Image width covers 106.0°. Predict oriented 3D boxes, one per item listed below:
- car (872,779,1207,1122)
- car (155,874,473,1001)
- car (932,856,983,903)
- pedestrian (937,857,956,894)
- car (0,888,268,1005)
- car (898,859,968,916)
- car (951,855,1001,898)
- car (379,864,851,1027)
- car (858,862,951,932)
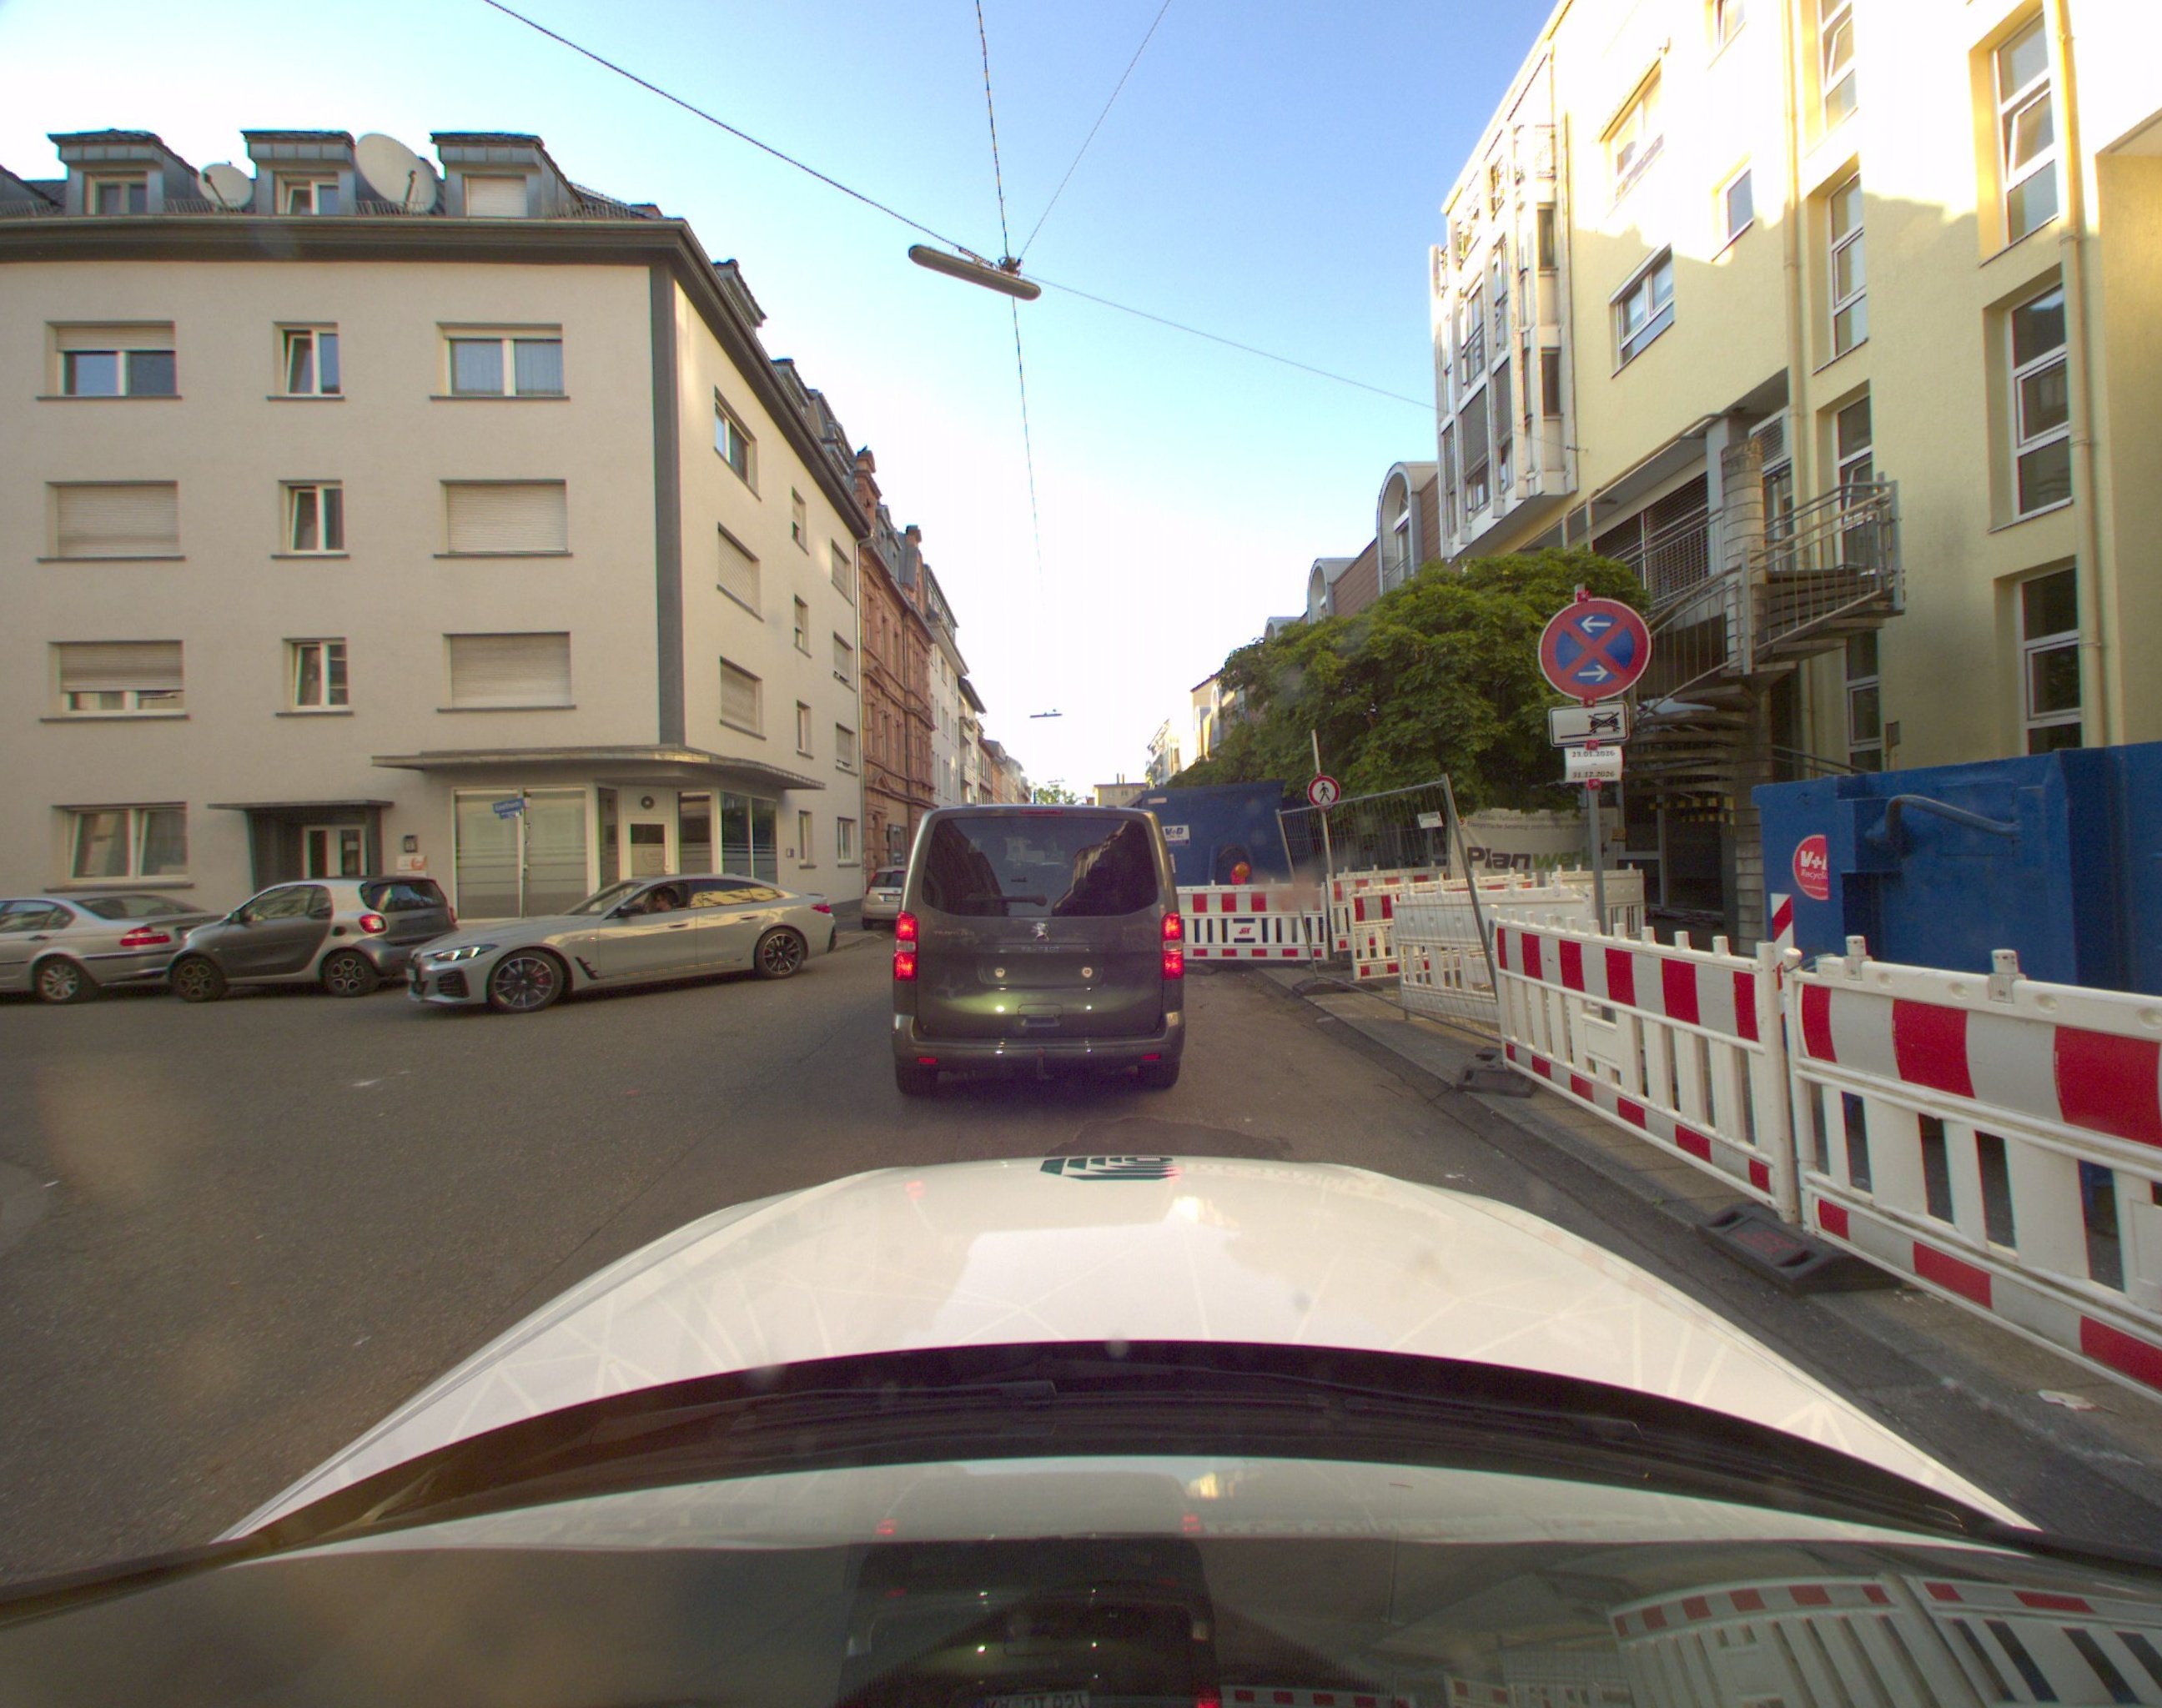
[{"bbox_3d":[-0.368,0.557,6.719,1.862,1.886,4.228,-1,-1,-4],"label":"car"},{"bbox_3d":[-10.284,1.076,11.094,2.778,1.540,1.593,0,0,-1],"label":"car"},{"bbox_3d":[-4.796,0.975,32.011,1.663,1.666,3.087,3,-1,-4],"label":"car"},{"bbox_3d":[-6.115,0.959,37.142,0.739,1.664,0.702,-2,0,-5],"label":"pedestrian"},{"bbox_3d":[-14.204,1.247,11.252,4.193,1.403,1.602,-1,0,-2],"label":"car"},{"bbox_3d":[-4.446,0.981,24.914,1.653,1.525,3.412,3,-1,-4],"label":"car"},{"bbox_3d":[-4.534,0.963,35.653,1.888,1.720,3.748,3,-1,-4],"label":"car"},{"bbox_3d":[-5.597,0.938,10.386,1.909,1.451,4.841,-2,0,41],"label":"car"},{"bbox_3d":[-4.146,0.978,19.595,1.653,1.460,3.412,3,-1,-4],"label":"car"}]
